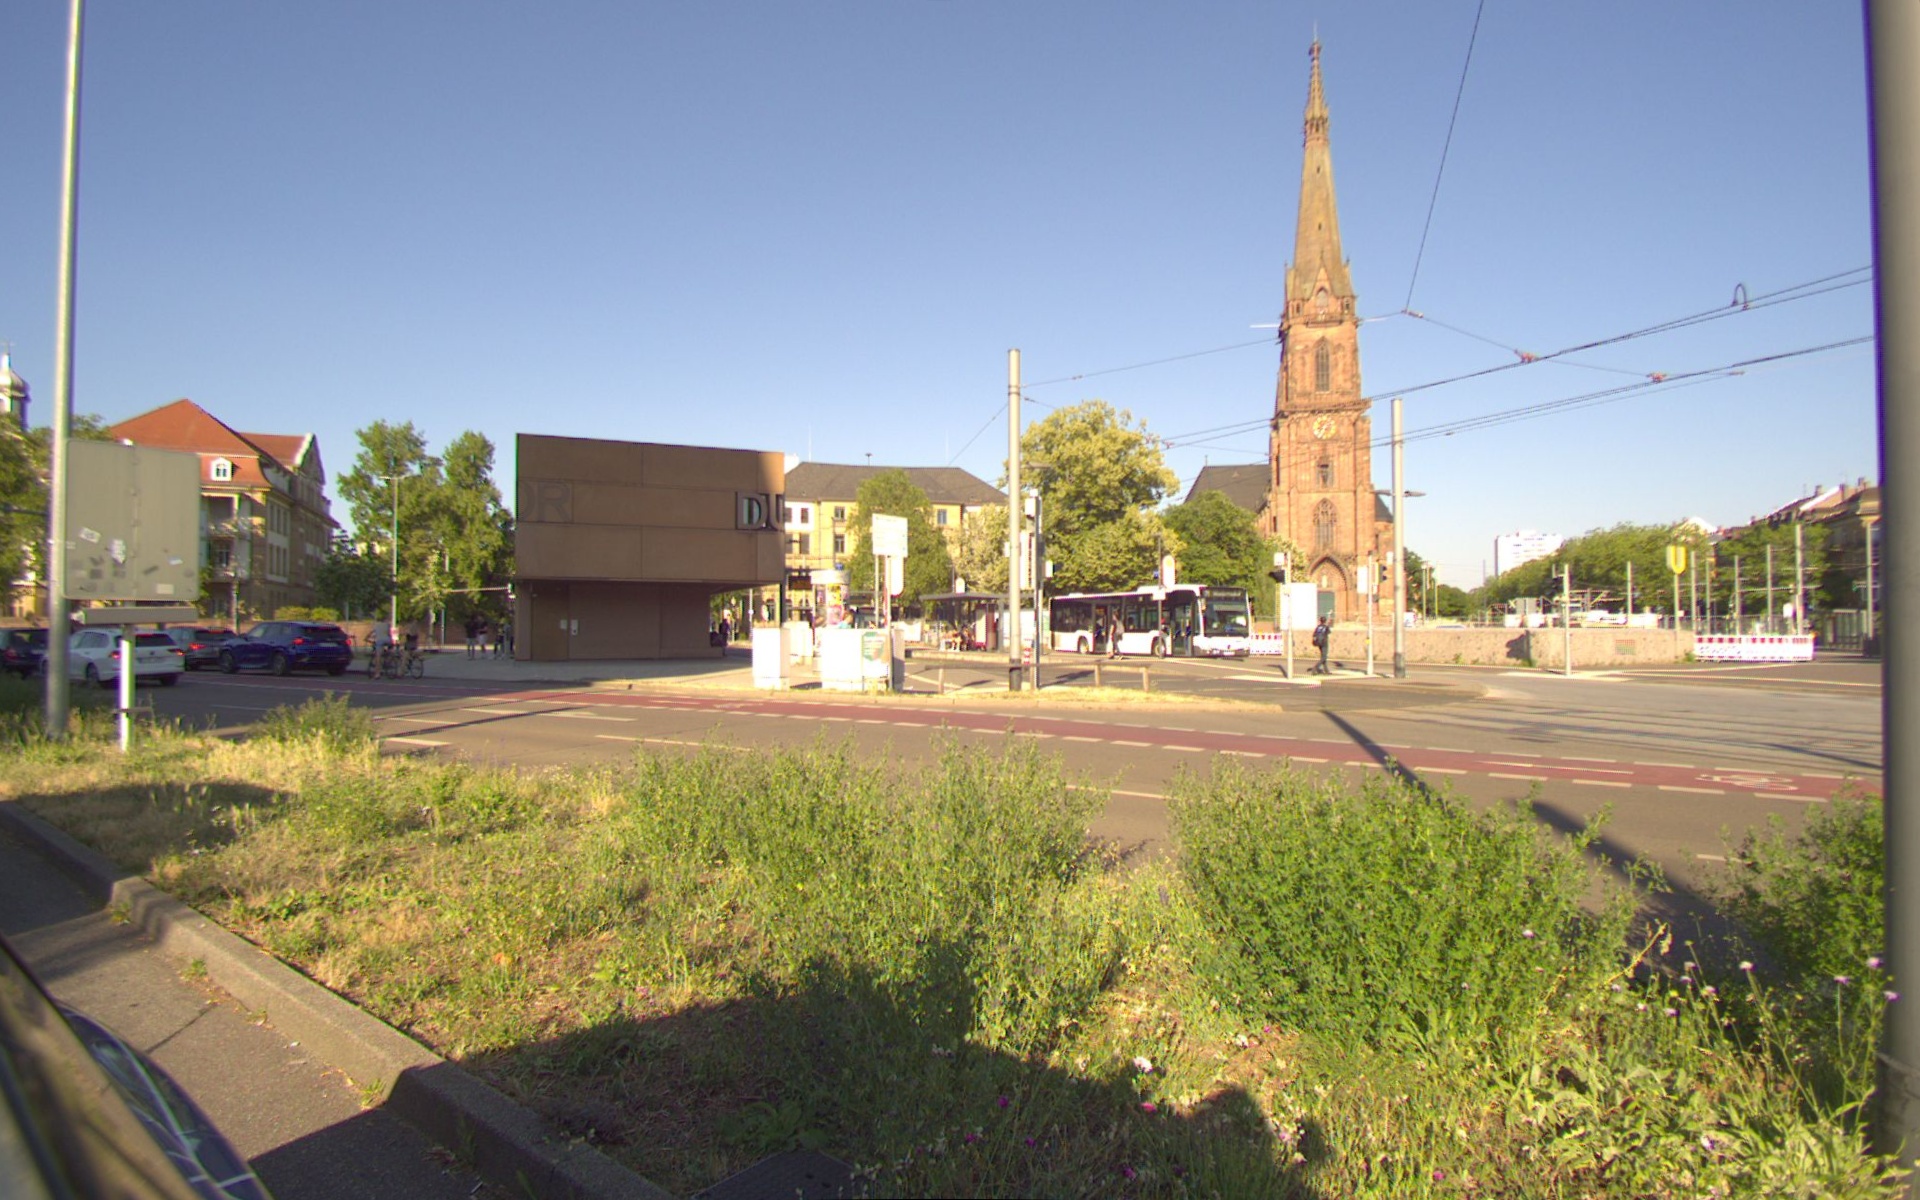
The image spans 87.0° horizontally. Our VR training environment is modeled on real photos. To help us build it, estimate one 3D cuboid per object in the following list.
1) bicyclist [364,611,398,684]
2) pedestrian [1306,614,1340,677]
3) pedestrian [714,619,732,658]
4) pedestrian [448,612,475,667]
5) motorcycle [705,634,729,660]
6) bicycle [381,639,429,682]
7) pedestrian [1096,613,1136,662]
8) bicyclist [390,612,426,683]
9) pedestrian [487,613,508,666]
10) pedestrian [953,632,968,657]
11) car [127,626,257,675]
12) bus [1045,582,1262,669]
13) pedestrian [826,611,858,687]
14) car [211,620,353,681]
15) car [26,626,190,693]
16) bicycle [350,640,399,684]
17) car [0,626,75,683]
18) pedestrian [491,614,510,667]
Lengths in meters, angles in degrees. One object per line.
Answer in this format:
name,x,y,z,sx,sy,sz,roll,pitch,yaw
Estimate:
bicyclist,-16.347,1.330,28.557,0.562,2.029,0.605,-1,-2,25
pedestrian,10.443,1.294,29.101,0.702,1.771,0.584,-1,0,-30
pedestrian,-12.657,2.036,54.097,0.762,2.029,0.778,-1,0,-2
pedestrian,-18.882,1.471,38.353,0.765,2.029,0.775,-1,0,-37
motorcycle,-10.097,1.950,42.086,0.935,1.075,0.331,-1,0,-11
bicycle,-16.035,1.734,29.219,1.388,1.201,0.461,-1,0,24
pedestrian,5.630,1.340,36.519,1.025,1.696,1.007,-1,0,-25
bicyclist,-15.888,1.356,29.144,0.705,2.029,0.605,-1,-2,25
pedestrian,-17.716,1.506,38.767,0.645,2.029,0.470,-1,0,-29
pedestrian,0.011,2.187,49.901,0.531,1.196,0.660,-1,0,-21
car,-25.214,1.649,33.186,4.375,1.503,1.831,-1,-4,30
bus,7.713,0.962,43.233,2.655,3.174,12.216,-1,0,-23
pedestrian,-3.014,1.244,25.867,0.787,1.911,0.612,0,-2,-9
car,-20.139,1.452,30.025,4.169,1.703,1.740,-1,-1,28
car,-21.541,1.442,25.553,4.375,1.503,1.831,-1,0,30
bicycle,-16.563,1.741,28.609,1.388,1.201,0.461,-1,0,24
car,-26.978,1.493,28.639,4.173,1.471,1.738,-1,0,31
pedestrian,-18.009,1.573,39.672,0.645,2.029,0.470,-1,0,-29
